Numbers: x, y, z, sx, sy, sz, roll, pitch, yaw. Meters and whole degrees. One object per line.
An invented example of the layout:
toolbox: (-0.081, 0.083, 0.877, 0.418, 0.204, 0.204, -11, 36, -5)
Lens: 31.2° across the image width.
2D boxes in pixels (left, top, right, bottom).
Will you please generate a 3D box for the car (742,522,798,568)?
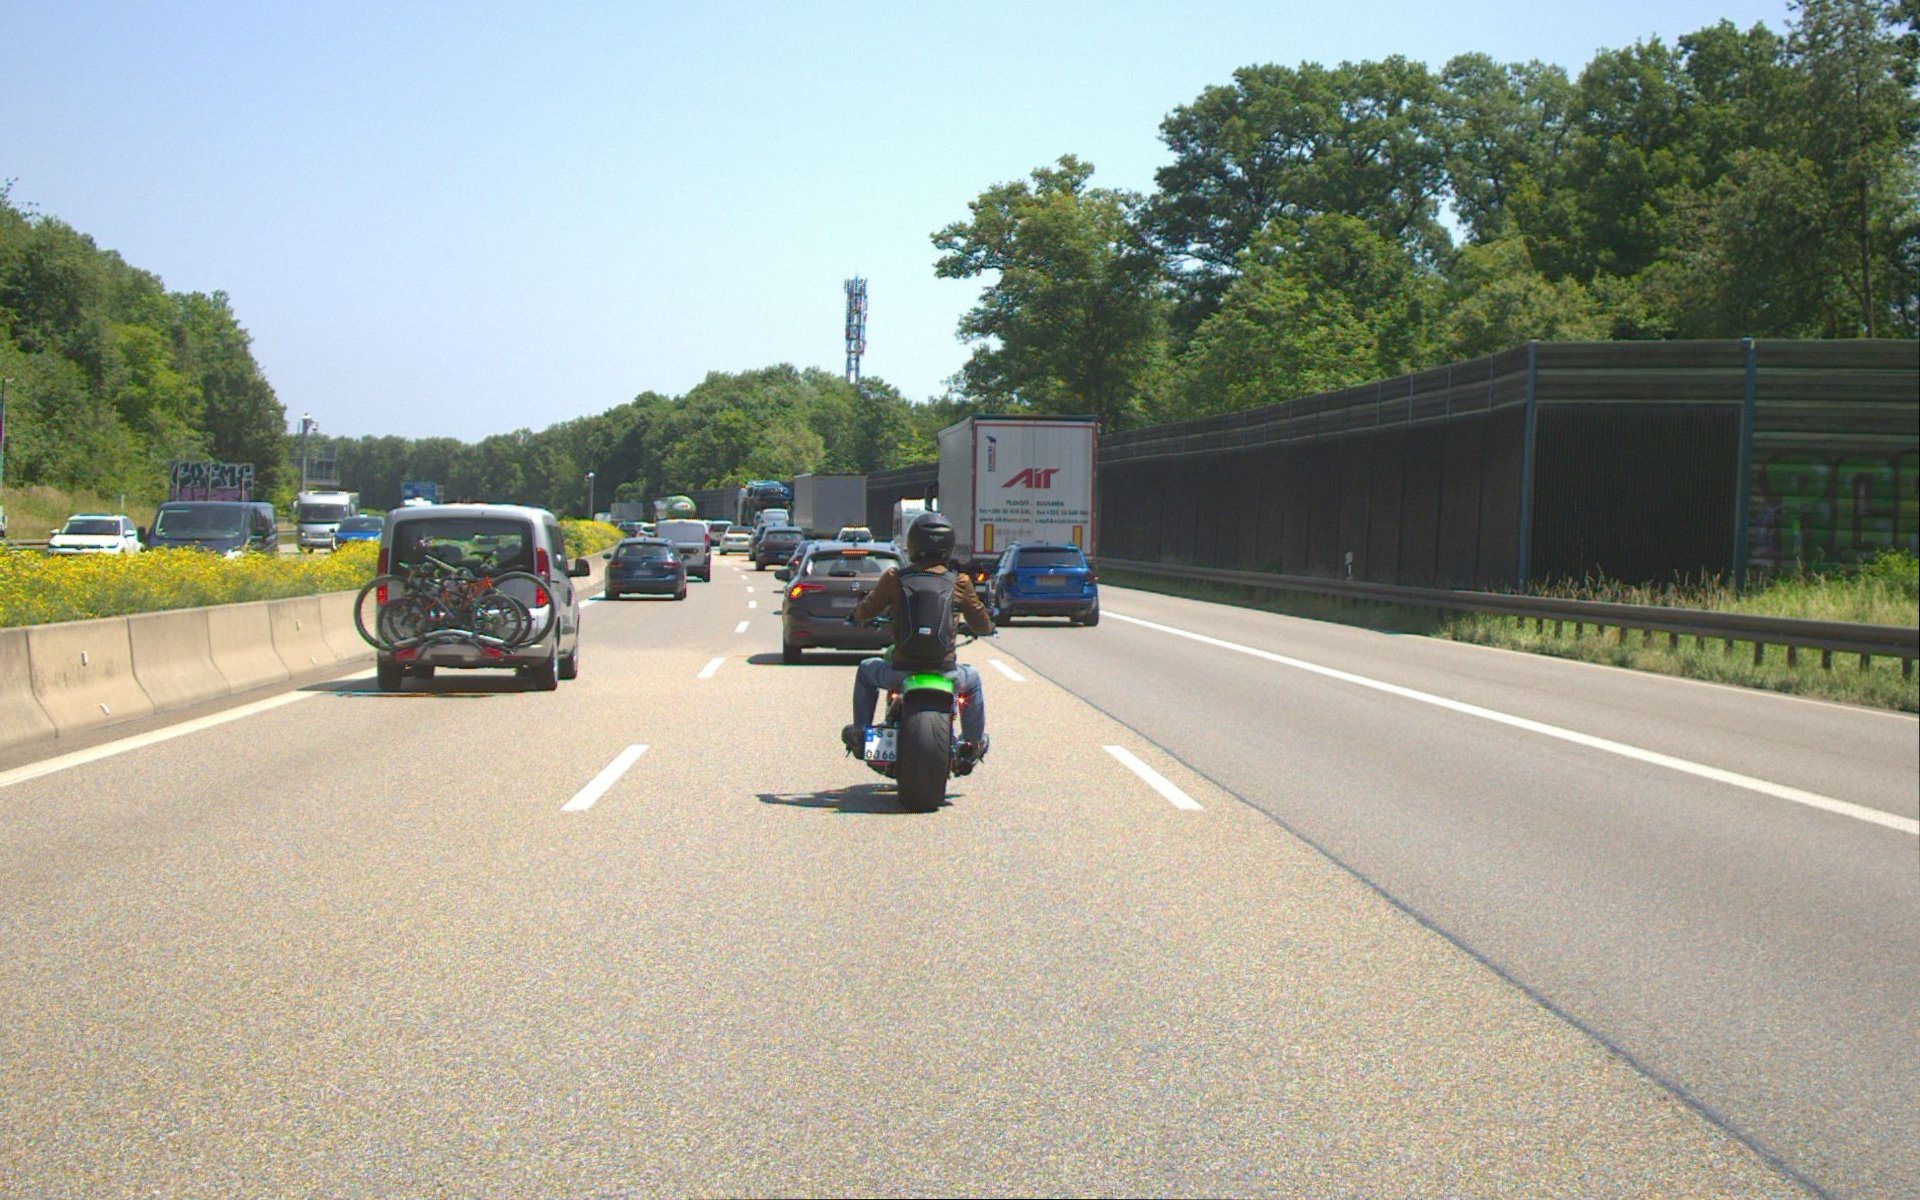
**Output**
car: (-6.909, -1.986, 125.451, 1.993, 1.634, 4.000, 0, 0, -2)

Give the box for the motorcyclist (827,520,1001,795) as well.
motorcyclist: (-0.237, 0.304, 19.375, 0.899, 1.470, 1.872, 0, 0, 1)

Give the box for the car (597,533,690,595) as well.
car: (-7.322, -0.823, 79.865, 1.993, 1.382, 4.000, 0, 0, -3)

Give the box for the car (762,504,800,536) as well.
car: (-10.965, -4.914, 210.537, 2.107, 1.870, 4.001, 0, 0, -6)

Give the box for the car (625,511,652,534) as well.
car: (-22.585, -5.424, 241.219, 1.832, 1.491, 3.744, 0, 0, -6)

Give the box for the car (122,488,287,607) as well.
car: (-13.221, -0.895, 60.414, 1.993, 2.007, 4.421, 0, 0, -1)

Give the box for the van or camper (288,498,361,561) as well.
van or camper: (-26.971, -2.975, 146.009, 2.186, 2.552, 6.933, 0, 0, -3)

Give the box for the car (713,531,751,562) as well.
car: (-11.367, -2.668, 171.447, 1.832, 1.491, 3.744, 0, 0, -4)

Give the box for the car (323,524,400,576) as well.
car: (-19.948, -1.652, 114.702, 1.993, 1.685, 4.401, 0, 0, -3)

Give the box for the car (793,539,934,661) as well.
car: (-1.228, -0.010, 42.801, 1.662, 1.448, 3.869, 0, 0, -2)

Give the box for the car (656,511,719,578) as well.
car: (-8.287, -1.672, 104.739, 1.791, 2.007, 3.642, 0, 0, -3)

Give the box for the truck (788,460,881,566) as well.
truck: (-6.125, -4.147, 166.627, 3.802, 4.943, 8.952, 0, 0, -6)

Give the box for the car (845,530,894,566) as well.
car: (-4.021, -2.291, 152.571, 1.993, 1.568, 4.001, 0, 0, -4)

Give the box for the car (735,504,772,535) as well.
car: (-12.975, -5.039, 215.920, 2.107, 1.870, 4.001, 0, 0, -6)

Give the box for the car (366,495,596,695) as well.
car: (-4.736, -0.060, 34.534, 1.899, 1.867, 4.413, 0, 0, -3)

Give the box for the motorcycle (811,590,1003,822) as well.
motorcycle: (-0.261, 0.553, 19.463, 0.964, 1.144, 2.812, 1, 1, 1)

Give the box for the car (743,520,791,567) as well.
car: (-8.455, -2.473, 150.287, 1.911, 2.007, 3.691, 0, 0, -5)

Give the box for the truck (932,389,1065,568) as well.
truck: (0.875, -2.905, 83.191, 2.885, 4.132, 5.987, 0, 1, -2)

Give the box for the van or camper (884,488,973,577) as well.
van or camper: (-1.071, -2.175, 113.109, 2.685, 2.803, 6.803, 0, 0, -3)

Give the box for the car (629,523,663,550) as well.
car: (-17.821, -3.612, 195.290, 1.832, 1.491, 3.744, 0, 0, -4)

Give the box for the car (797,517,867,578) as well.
car: (-3.320, -1.357, 89.814, 1.779, 1.547, 3.585, 0, 0, -1)

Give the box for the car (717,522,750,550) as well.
car: (-12.898, -3.646, 195.963, 1.832, 1.491, 3.744, 0, 0, -4)

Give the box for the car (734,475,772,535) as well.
car: (-13.817, -6.309, 228.835, 2.133, 3.848, 8.144, 1, 1, -6)

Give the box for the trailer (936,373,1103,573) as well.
trailer: (1.151, -2.734, 76.592, 2.885, 4.024, 13.797, 0, 1, -2)

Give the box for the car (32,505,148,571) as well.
car: (-21.925, -1.574, 86.824, 1.993, 1.611, 4.484, 0, 1, -3)

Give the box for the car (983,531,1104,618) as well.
car: (1.441, -0.443, 60.985, 1.650, 1.477, 4.482, 0, 0, -5)
